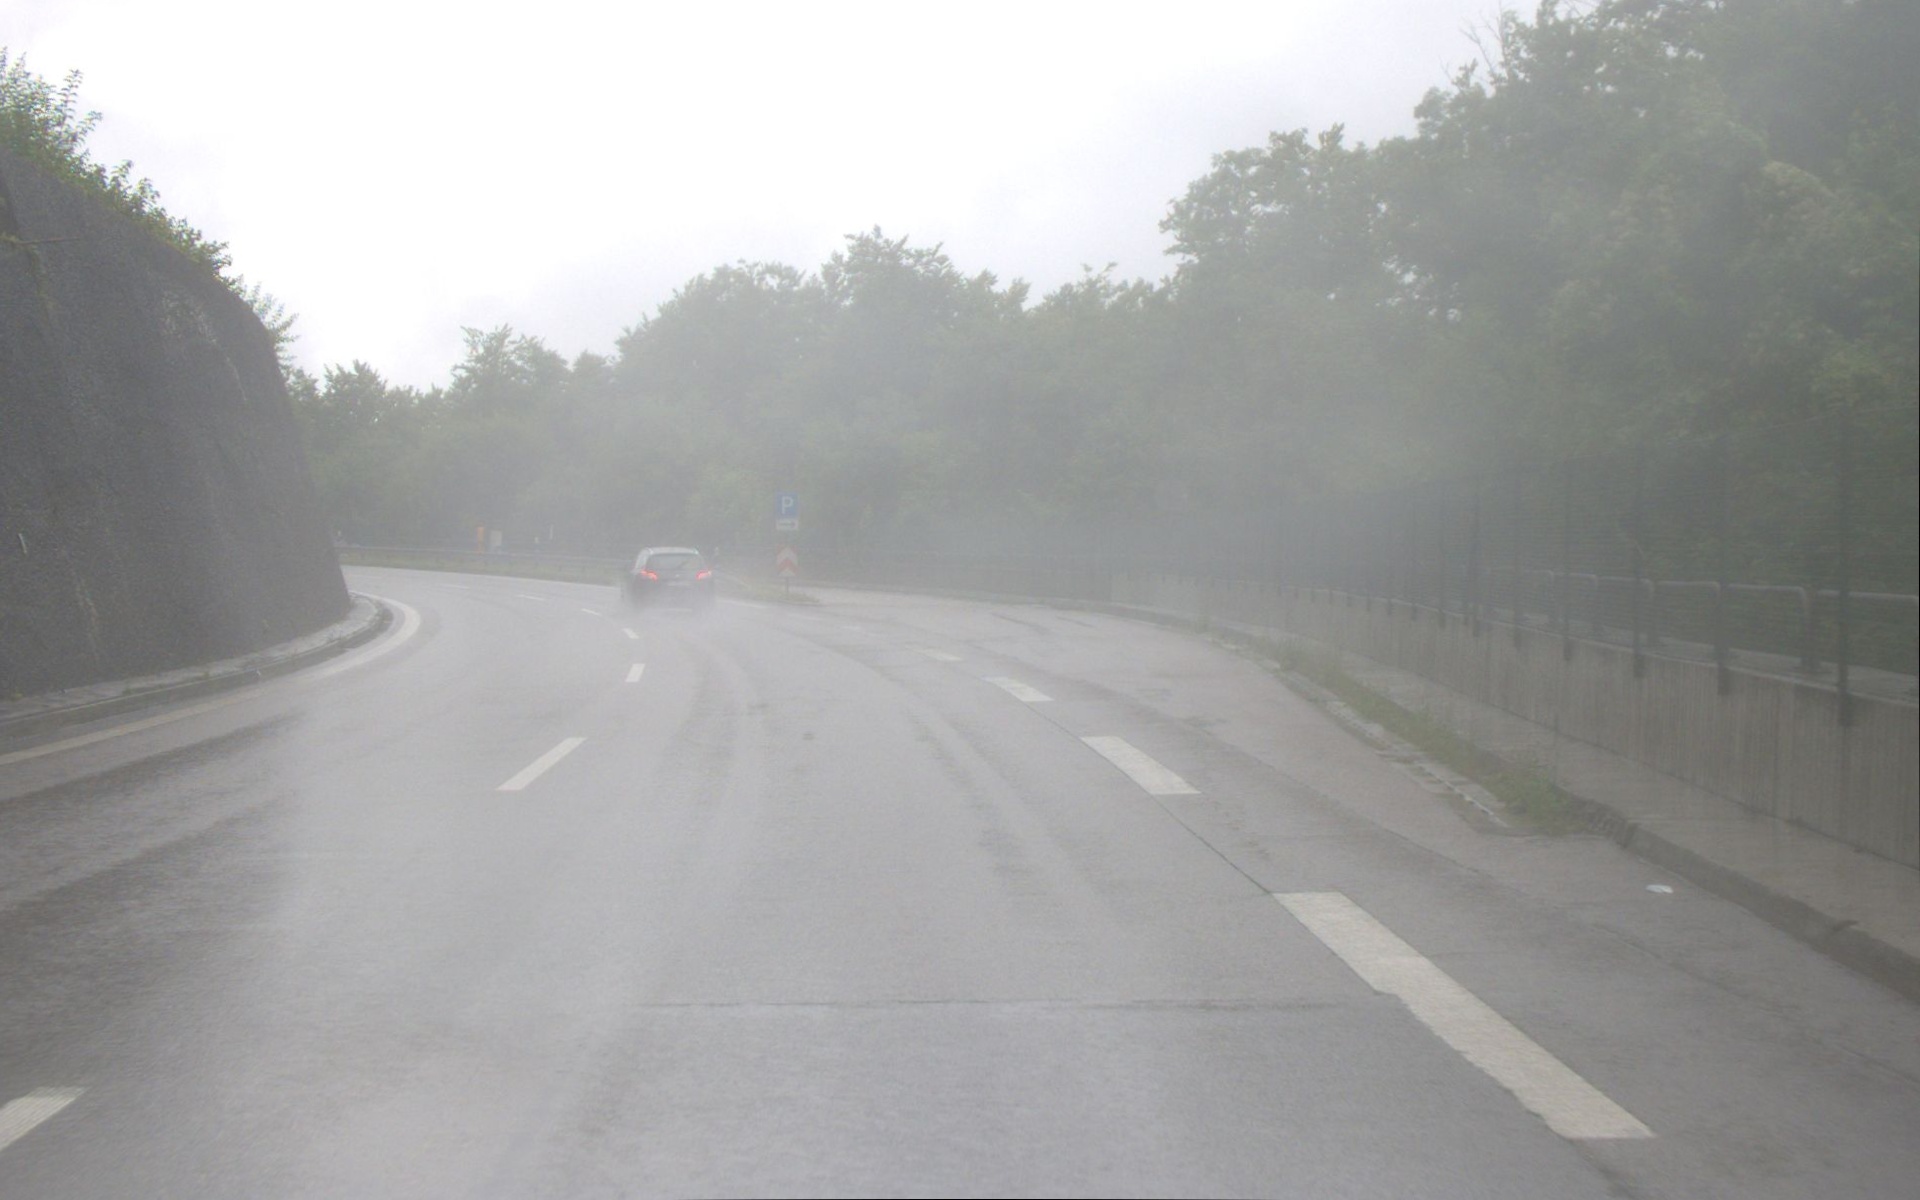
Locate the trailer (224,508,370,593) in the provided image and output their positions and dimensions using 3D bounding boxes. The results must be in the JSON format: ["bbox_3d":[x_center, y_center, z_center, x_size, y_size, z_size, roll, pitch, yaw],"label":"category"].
[{"bbox_3d":[-34.795,-2.649,179.725,2.892,4.230,14.699,0,1,-30],"label":"trailer"}]

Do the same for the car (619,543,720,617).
[{"bbox_3d":[-6.384,-0.460,75.206,1.903,1.494,4.001,3,1,-8],"label":"car"}]
